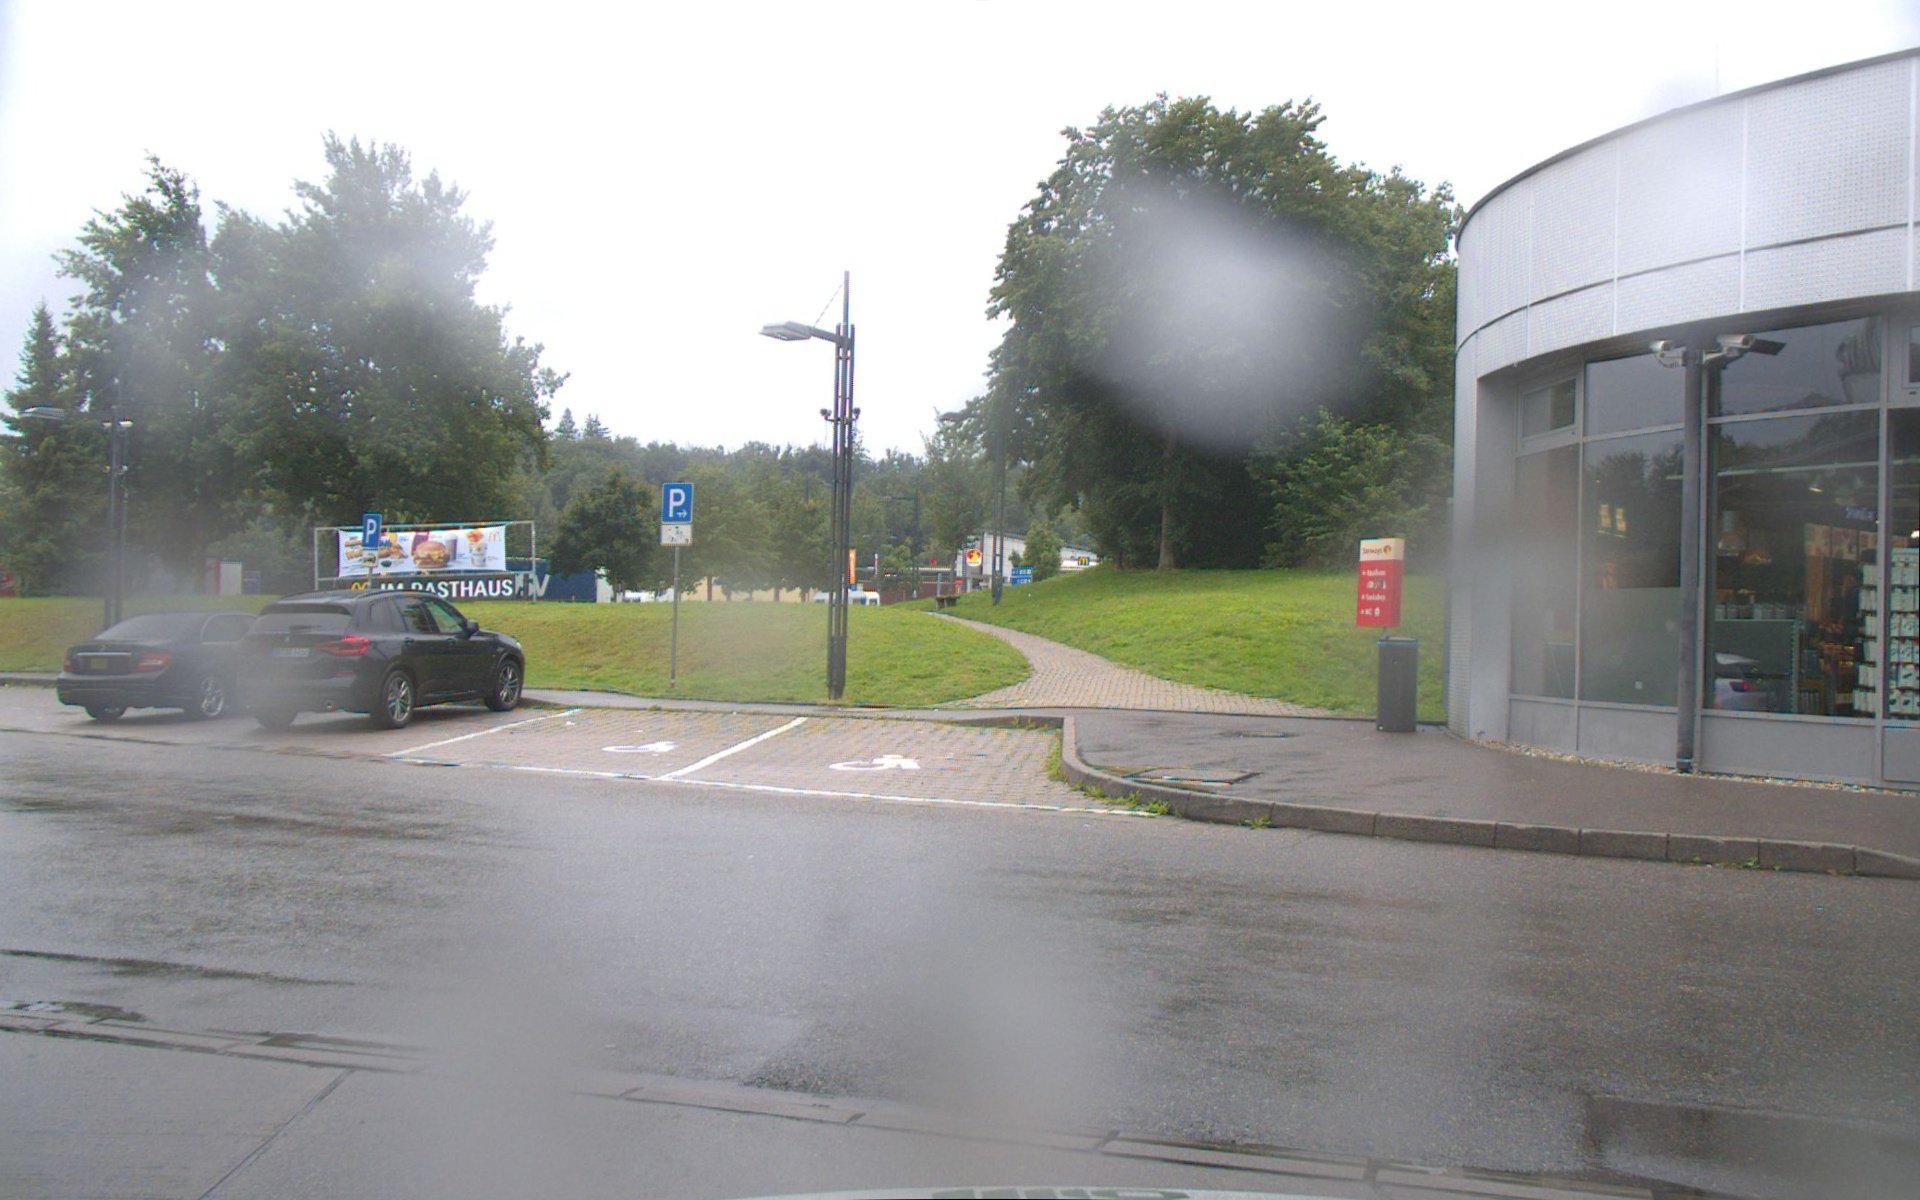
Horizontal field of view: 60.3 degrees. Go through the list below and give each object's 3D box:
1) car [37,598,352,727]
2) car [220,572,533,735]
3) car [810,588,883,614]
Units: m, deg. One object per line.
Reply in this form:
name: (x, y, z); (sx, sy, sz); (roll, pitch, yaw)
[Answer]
car: (-10.357, 0.780, 22.757); (1.844, 1.592, 4.189); (0, 0, 11)
car: (-7.332, 0.607, 21.318); (1.844, 1.860, 4.417); (0, 0, 11)
car: (-9.167, 0.068, 133.627); (5.310, 2.049, 2.456); (1, 0, 19)
